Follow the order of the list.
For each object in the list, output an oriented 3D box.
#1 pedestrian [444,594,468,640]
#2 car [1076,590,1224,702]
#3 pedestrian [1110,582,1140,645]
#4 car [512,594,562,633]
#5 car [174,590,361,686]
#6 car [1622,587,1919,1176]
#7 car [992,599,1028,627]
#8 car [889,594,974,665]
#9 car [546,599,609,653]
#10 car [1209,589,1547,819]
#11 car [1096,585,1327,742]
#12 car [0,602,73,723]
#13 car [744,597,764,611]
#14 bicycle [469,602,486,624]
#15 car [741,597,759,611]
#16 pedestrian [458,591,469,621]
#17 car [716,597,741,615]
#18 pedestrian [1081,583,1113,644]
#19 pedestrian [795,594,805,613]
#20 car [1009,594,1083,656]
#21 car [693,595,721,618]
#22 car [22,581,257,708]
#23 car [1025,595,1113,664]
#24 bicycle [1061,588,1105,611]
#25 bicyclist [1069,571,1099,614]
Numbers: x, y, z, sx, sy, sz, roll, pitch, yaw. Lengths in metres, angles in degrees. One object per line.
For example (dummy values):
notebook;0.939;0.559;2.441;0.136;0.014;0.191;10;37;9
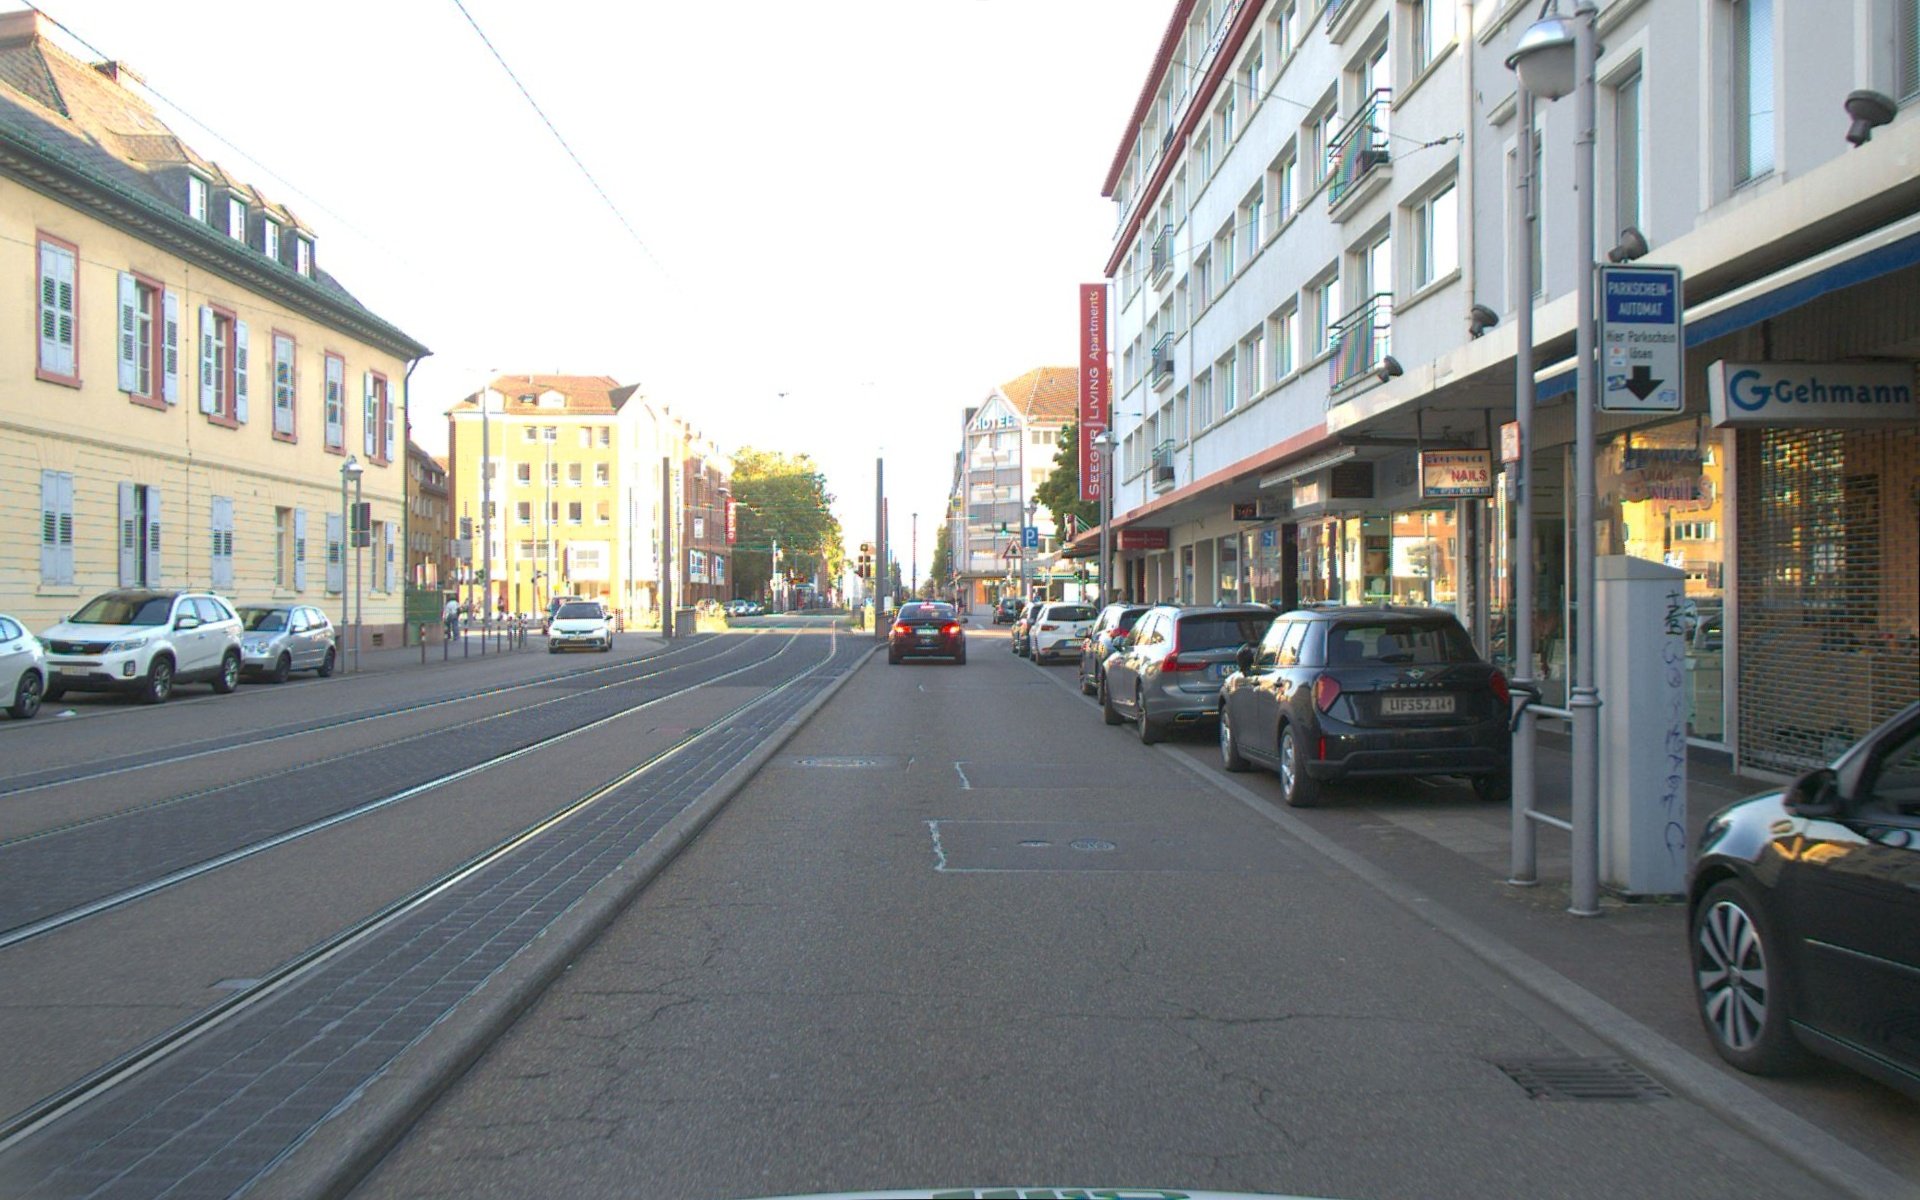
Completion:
pedestrian;-17.719;0.591;58.102;0.721;1.612;0.948;0;0;-22
car;2.851;0.651;25.640;1.700;1.538;4.302;-2;0;-1
pedestrian;4.763;0.378;47.798;0.714;1.771;0.863;-2;0;-1
car;-17.403;0.530;68.158;1.704;1.538;4.024;-1;0;-11
car;-13.468;0.690;32.470;1.775;1.645;4.215;3;0;0
car;3.373;0.736;4.139;1.685;1.538;4.166;-2;0;-1
car;2.920;0.729;97.289;1.953;1.579;3.999;-1;0;-1
car;-0.709;0.667;40.216;1.953;1.612;3.999;-1;0;-1
car;-11.611;0.757;50.252;1.775;1.538;4.021;-1;0;-13
car;3.202;0.712;13.481;1.651;1.538;4.034;-2;0;-1
car;2.755;0.636;19.208;1.754;1.538;4.709;-2;0;-2
car;-13.219;0.817;20.723;1.775;1.538;4.432;-1;0;1
car;-22.858;0.431;183.767;1.954;1.612;4.475;-1;0;-4
bicycle;-30.484;0.818;104.544;0.606;1.348;2.013;2;0;-5
car;-22.349;0.386;176.254;1.636;1.473;4.198;0;0;-4
pedestrian;-31.228;0.376;104.007;0.492;1.900;0.562;2;0;-7
car;-21.406;0.542;152.918;1.954;1.612;4.583;-1;0;-4
pedestrian;4.021;0.383;48.731;0.810;1.748;0.843;-2;0;-1
pedestrian;-17.277;0.373;178.881;0.968;2.049;0.725;1;0;-3
car;2.296;0.638;45.164;1.700;1.538;4.685;-2;0;-1
car;-21.712;0.540;141.954;1.954;1.934;4.808;-1;0;-4
car;-13.133;0.661;26.801;1.777;1.817;4.493;2;0;-5
car;2.580;0.669;39.877;1.749;1.538;4.051;-2;0;-1
bicycle;5.497;-0.016;74.242;0.832;1.038;2.049;0;0;-38
bicyclist;5.573;-0.337;74.171;0.832;1.951;1.100;0;0;-38
